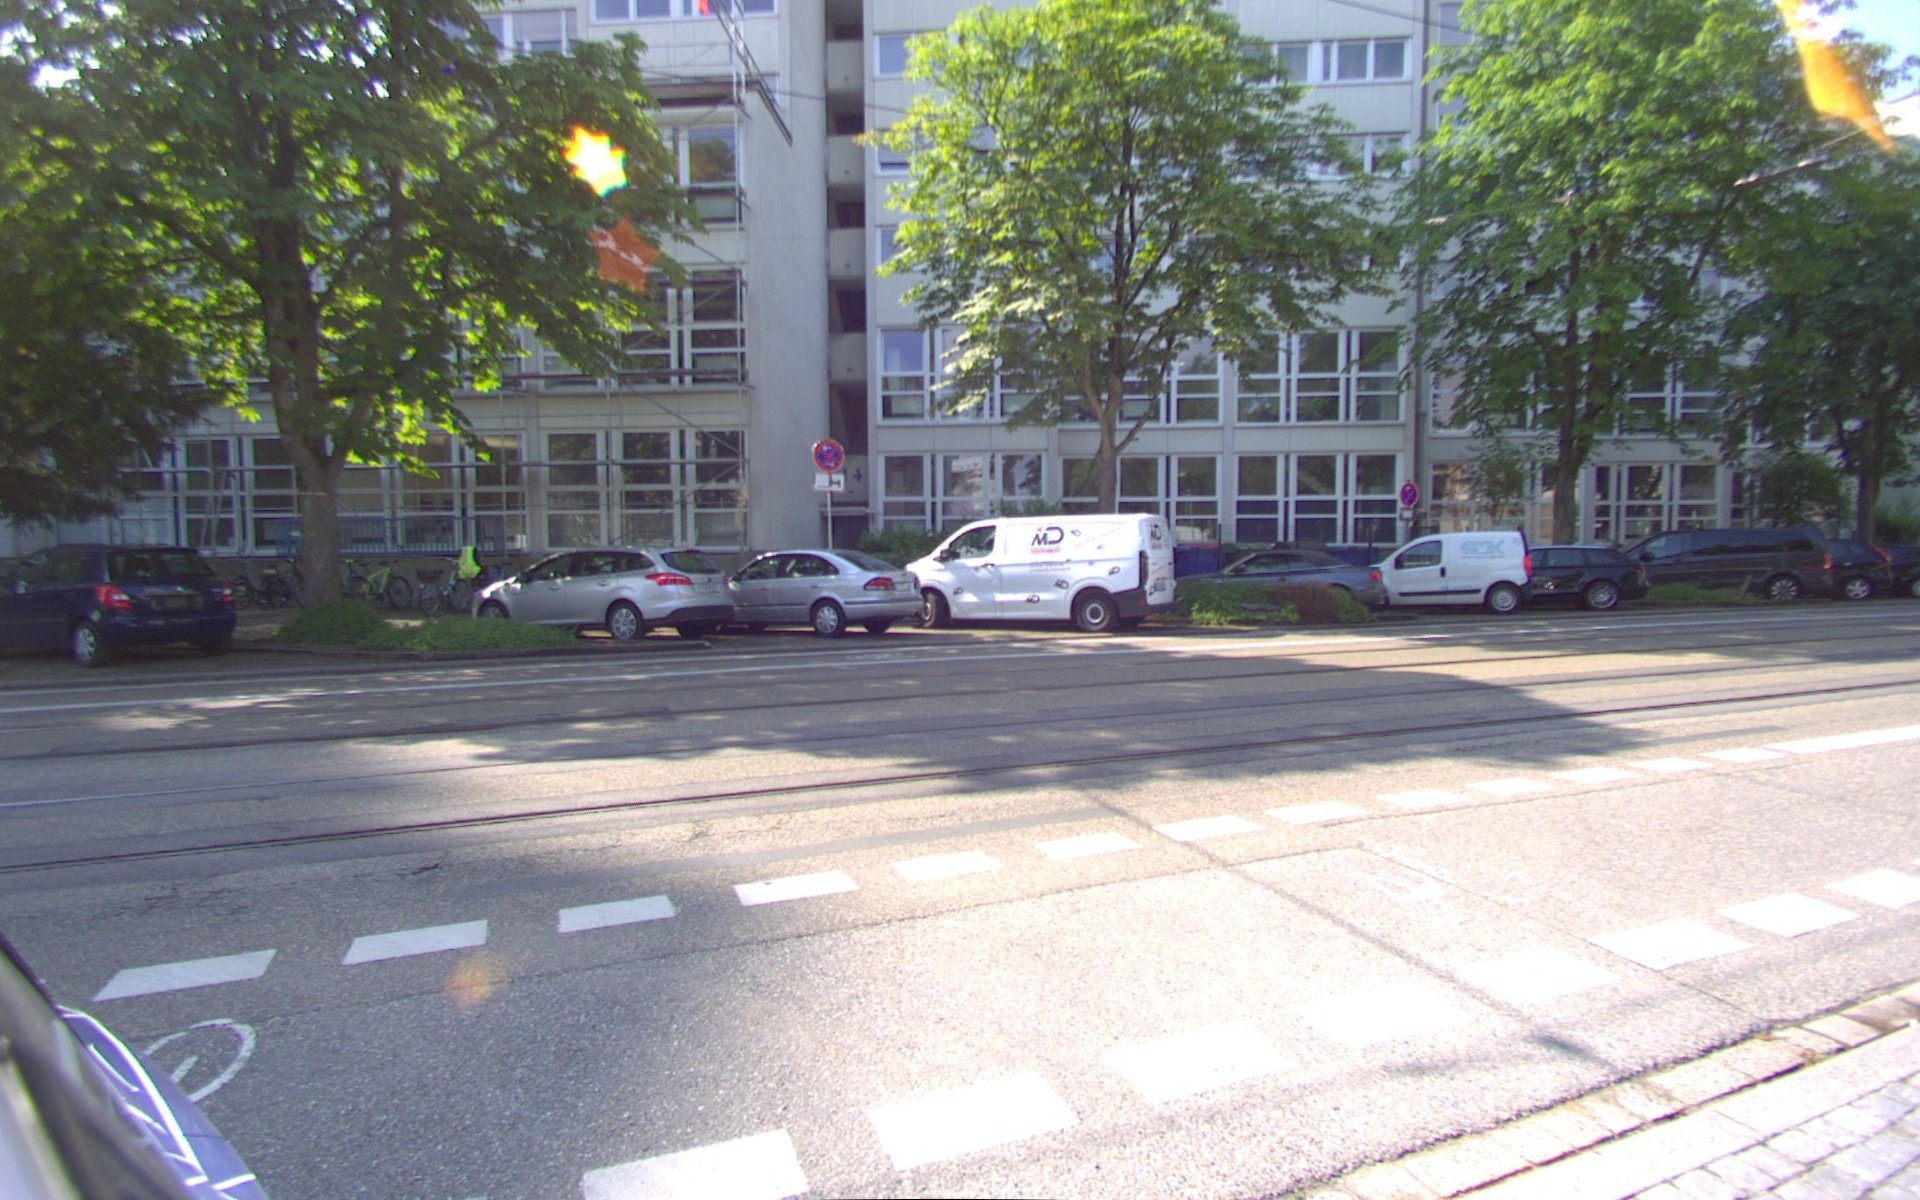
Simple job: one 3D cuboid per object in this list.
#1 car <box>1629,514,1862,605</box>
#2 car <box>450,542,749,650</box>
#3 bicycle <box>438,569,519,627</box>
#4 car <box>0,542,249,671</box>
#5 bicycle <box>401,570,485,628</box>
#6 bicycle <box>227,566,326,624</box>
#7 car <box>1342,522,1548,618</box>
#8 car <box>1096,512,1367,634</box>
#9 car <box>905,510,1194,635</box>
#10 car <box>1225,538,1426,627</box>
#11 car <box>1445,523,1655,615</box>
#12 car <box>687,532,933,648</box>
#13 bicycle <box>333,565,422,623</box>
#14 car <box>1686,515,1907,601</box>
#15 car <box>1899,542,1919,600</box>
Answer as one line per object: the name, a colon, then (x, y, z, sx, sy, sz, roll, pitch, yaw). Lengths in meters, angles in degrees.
car: (19.266, -0.948, 25.062, 4.177, 2.097, 1.869, 0, 0, 23)
car: (-5.697, 0.021, 16.022, 4.430, 1.437, 1.728, -2, -4, 21)
bicycle: (-9.975, -0.015, 21.031, 0.491, 1.095, 2.051, -1, -3, 7)
car: (-11.560, 0.179, 13.462, 3.978, 1.473, 1.744, -3, -4, 26)
bicycle: (-10.748, 0.009, 21.115, 0.491, 1.095, 2.051, -1, -3, 7)
bicycle: (-14.372, -0.068, 21.355, 0.491, 1.095, 2.051, -1, -3, 7)
car: (10.170, -0.560, 21.525, 3.734, 1.725, 1.869, -2, -4, 23)
car: (4.988, -0.397, 18.708, 4.550, 2.013, 1.886, -1, -3, 27)
car: (1.522, -0.415, 17.527, 4.619, 1.926, 1.915, -1, 0, 27)
car: (7.296, -0.291, 20.406, 3.609, 1.512, 1.750, -2, -4, 20)
car: (13.053, -0.627, 22.676, 3.734, 1.725, 1.869, -2, -4, 23)
car: (-2.539, -0.077, 17.043, 3.762, 1.487, 1.711, -6, -6, 25)
bicycle: (-12.272, -0.104, 21.399, 0.491, 1.095, 2.051, -1, -3, 7)
car: (21.799, -1.033, 26.621, 4.186, 2.097, 1.865, 0, 0, 29)
car: (30.182, -1.036, 29.550, 3.588, 1.590, 1.617, -7, -7, 29)
